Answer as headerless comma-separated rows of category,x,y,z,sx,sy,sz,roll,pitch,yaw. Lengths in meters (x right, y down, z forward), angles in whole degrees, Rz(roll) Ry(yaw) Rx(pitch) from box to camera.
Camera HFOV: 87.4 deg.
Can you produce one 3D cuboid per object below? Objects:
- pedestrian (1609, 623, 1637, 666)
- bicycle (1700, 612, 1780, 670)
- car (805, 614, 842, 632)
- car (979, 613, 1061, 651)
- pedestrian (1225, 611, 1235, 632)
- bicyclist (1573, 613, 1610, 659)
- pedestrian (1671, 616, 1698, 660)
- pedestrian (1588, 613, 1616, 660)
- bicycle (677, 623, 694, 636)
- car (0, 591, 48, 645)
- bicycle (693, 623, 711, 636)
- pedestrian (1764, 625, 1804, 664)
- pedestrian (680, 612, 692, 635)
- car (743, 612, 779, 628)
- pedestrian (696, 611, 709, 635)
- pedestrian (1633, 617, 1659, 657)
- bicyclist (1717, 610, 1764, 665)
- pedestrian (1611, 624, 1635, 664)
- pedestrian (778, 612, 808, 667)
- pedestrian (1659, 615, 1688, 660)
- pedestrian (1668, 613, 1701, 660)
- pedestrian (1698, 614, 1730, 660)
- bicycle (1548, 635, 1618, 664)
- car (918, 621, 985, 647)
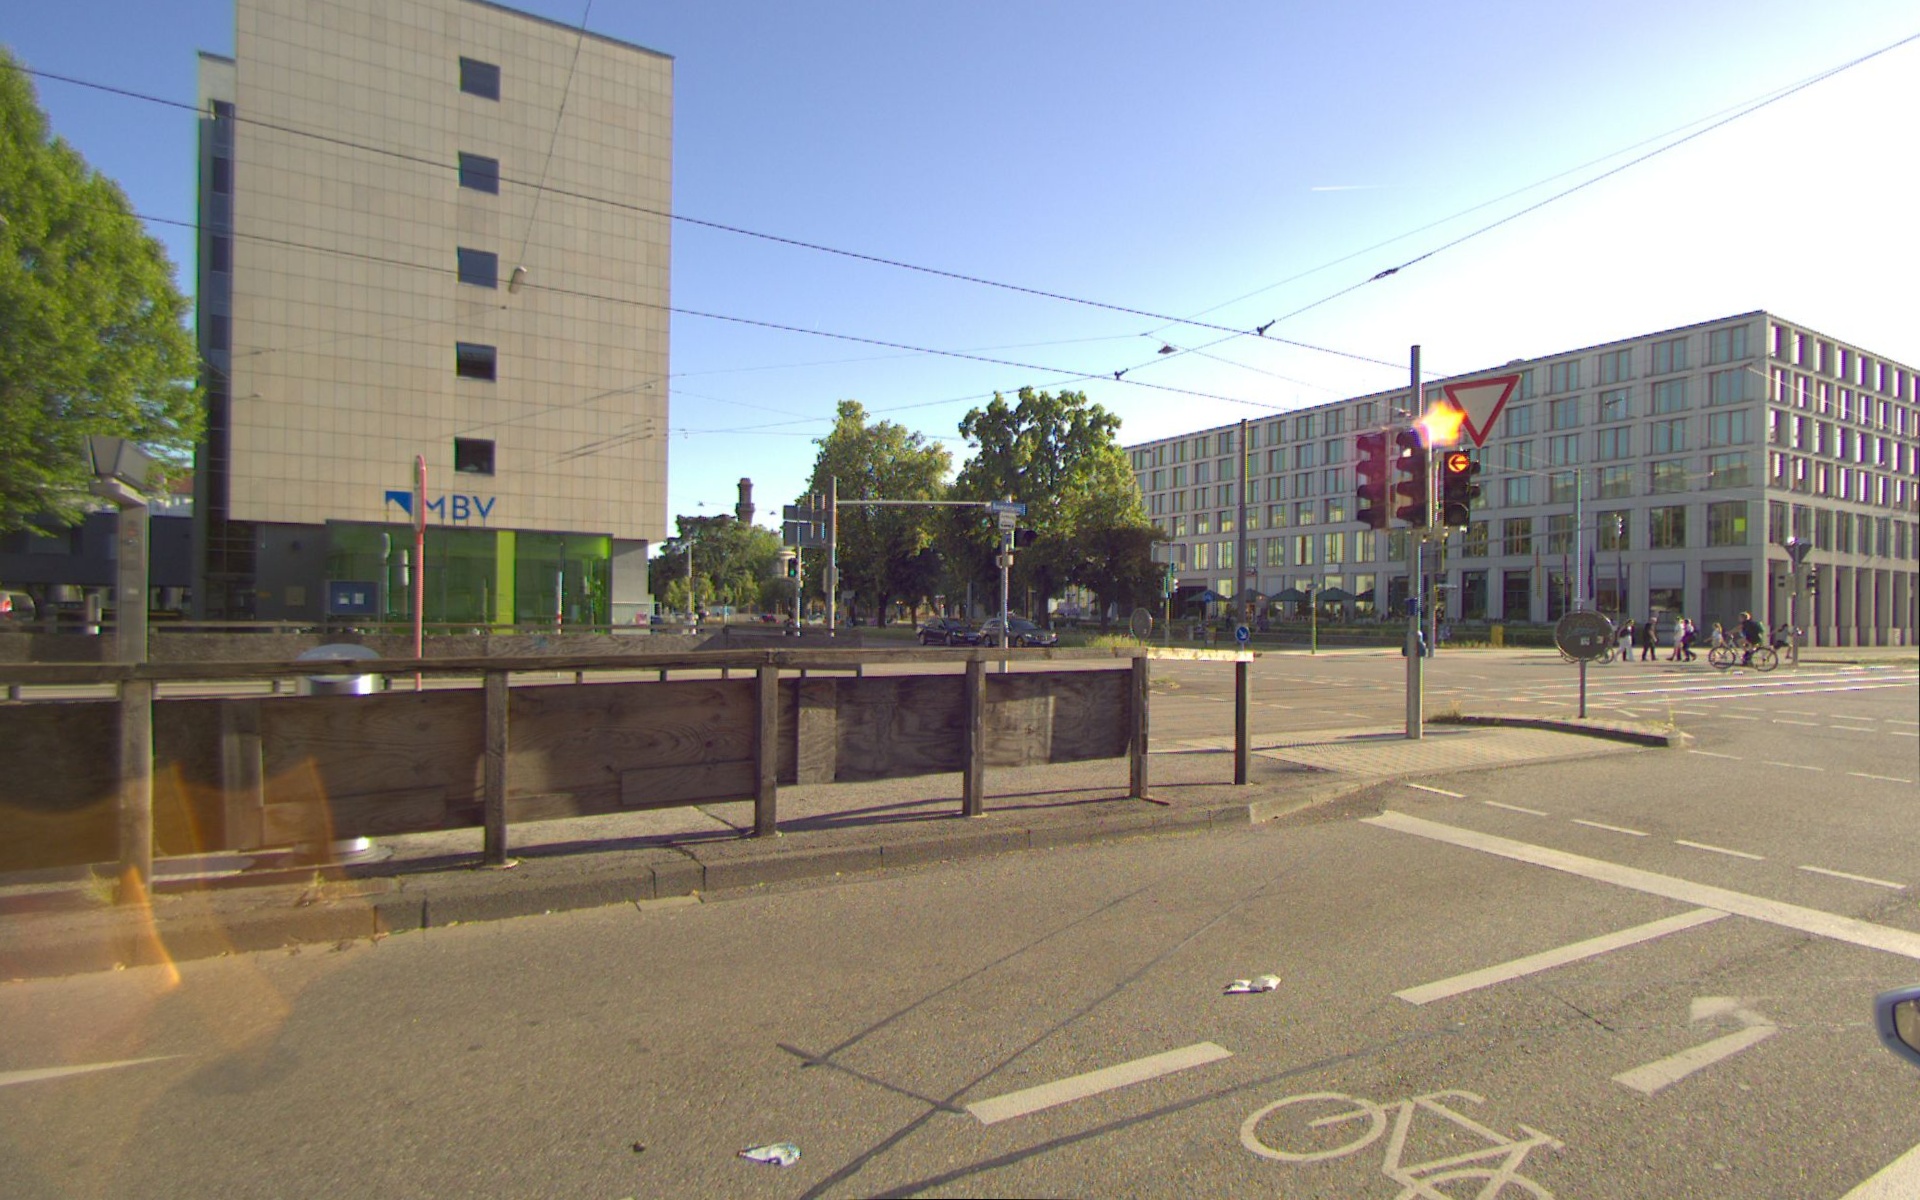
pedestrian,26.498,1.772,40.152,0.615,1.666,0.787,1,-1,-34
bicycle,24.122,1.246,31.082,0.593,1.758,1.880,1,-1,-42
car,-11.721,1.978,86.224,1.614,1.452,4.021,3,-2,-31
car,2.793,1.500,47.886,1.829,1.602,4.496,1,1,-28
pedestrian,22.769,1.829,84.808,0.556,1.691,0.537,2,0,-33
bicyclist,22.131,1.251,35.202,0.569,1.581,0.968,1,-1,-35
pedestrian,30.414,1.586,42.176,0.525,1.827,0.737,1,-1,-24
pedestrian,26.911,1.518,42.107,0.628,1.943,0.800,1,-1,-24
bicycle,-21.365,2.296,78.154,0.669,0.973,2.131,1,-1,-32
car,-27.733,0.453,27.748,3.371,1.431,1.562,2,0,-20
bicycle,-20.335,2.342,79.198,0.818,0.973,2.132,1,-1,-31
pedestrian,29.508,1.586,35.987,0.760,1.335,0.986,1,-1,-39
pedestrian,-21.292,1.823,78.046,0.666,1.739,0.754,1,-1,-32
car,-19.932,1.986,100.269,1.978,1.433,4.710,4,-2,-31
pedestrian,-20.308,1.808,79.173,0.818,1.829,0.754,1,-1,-31
pedestrian,29.146,1.571,42.696,0.612,1.666,0.692,1,-1,-23
bicyclist,24.139,1.141,31.057,0.593,1.662,1.064,1,-1,-42
pedestrian,27.913,1.833,42.295,0.615,1.666,0.690,1,-1,-34
pedestrian,-5.327,1.254,31.960,0.814,1.739,0.757,1,-1,-18
pedestrian,29.399,1.524,41.383,0.706,1.827,0.737,1,-1,-24
pedestrian,28.791,1.449,39.917,0.654,1.827,0.868,1,-1,-24
pedestrian,30.072,1.476,40.059,0.525,1.827,0.867,1,-1,-24
bicycle,21.956,1.735,35.449,0.569,0.945,2.051,1,-1,-35
car,-0.512,1.778,53.413,1.755,1.311,4.209,1,-1,-30
